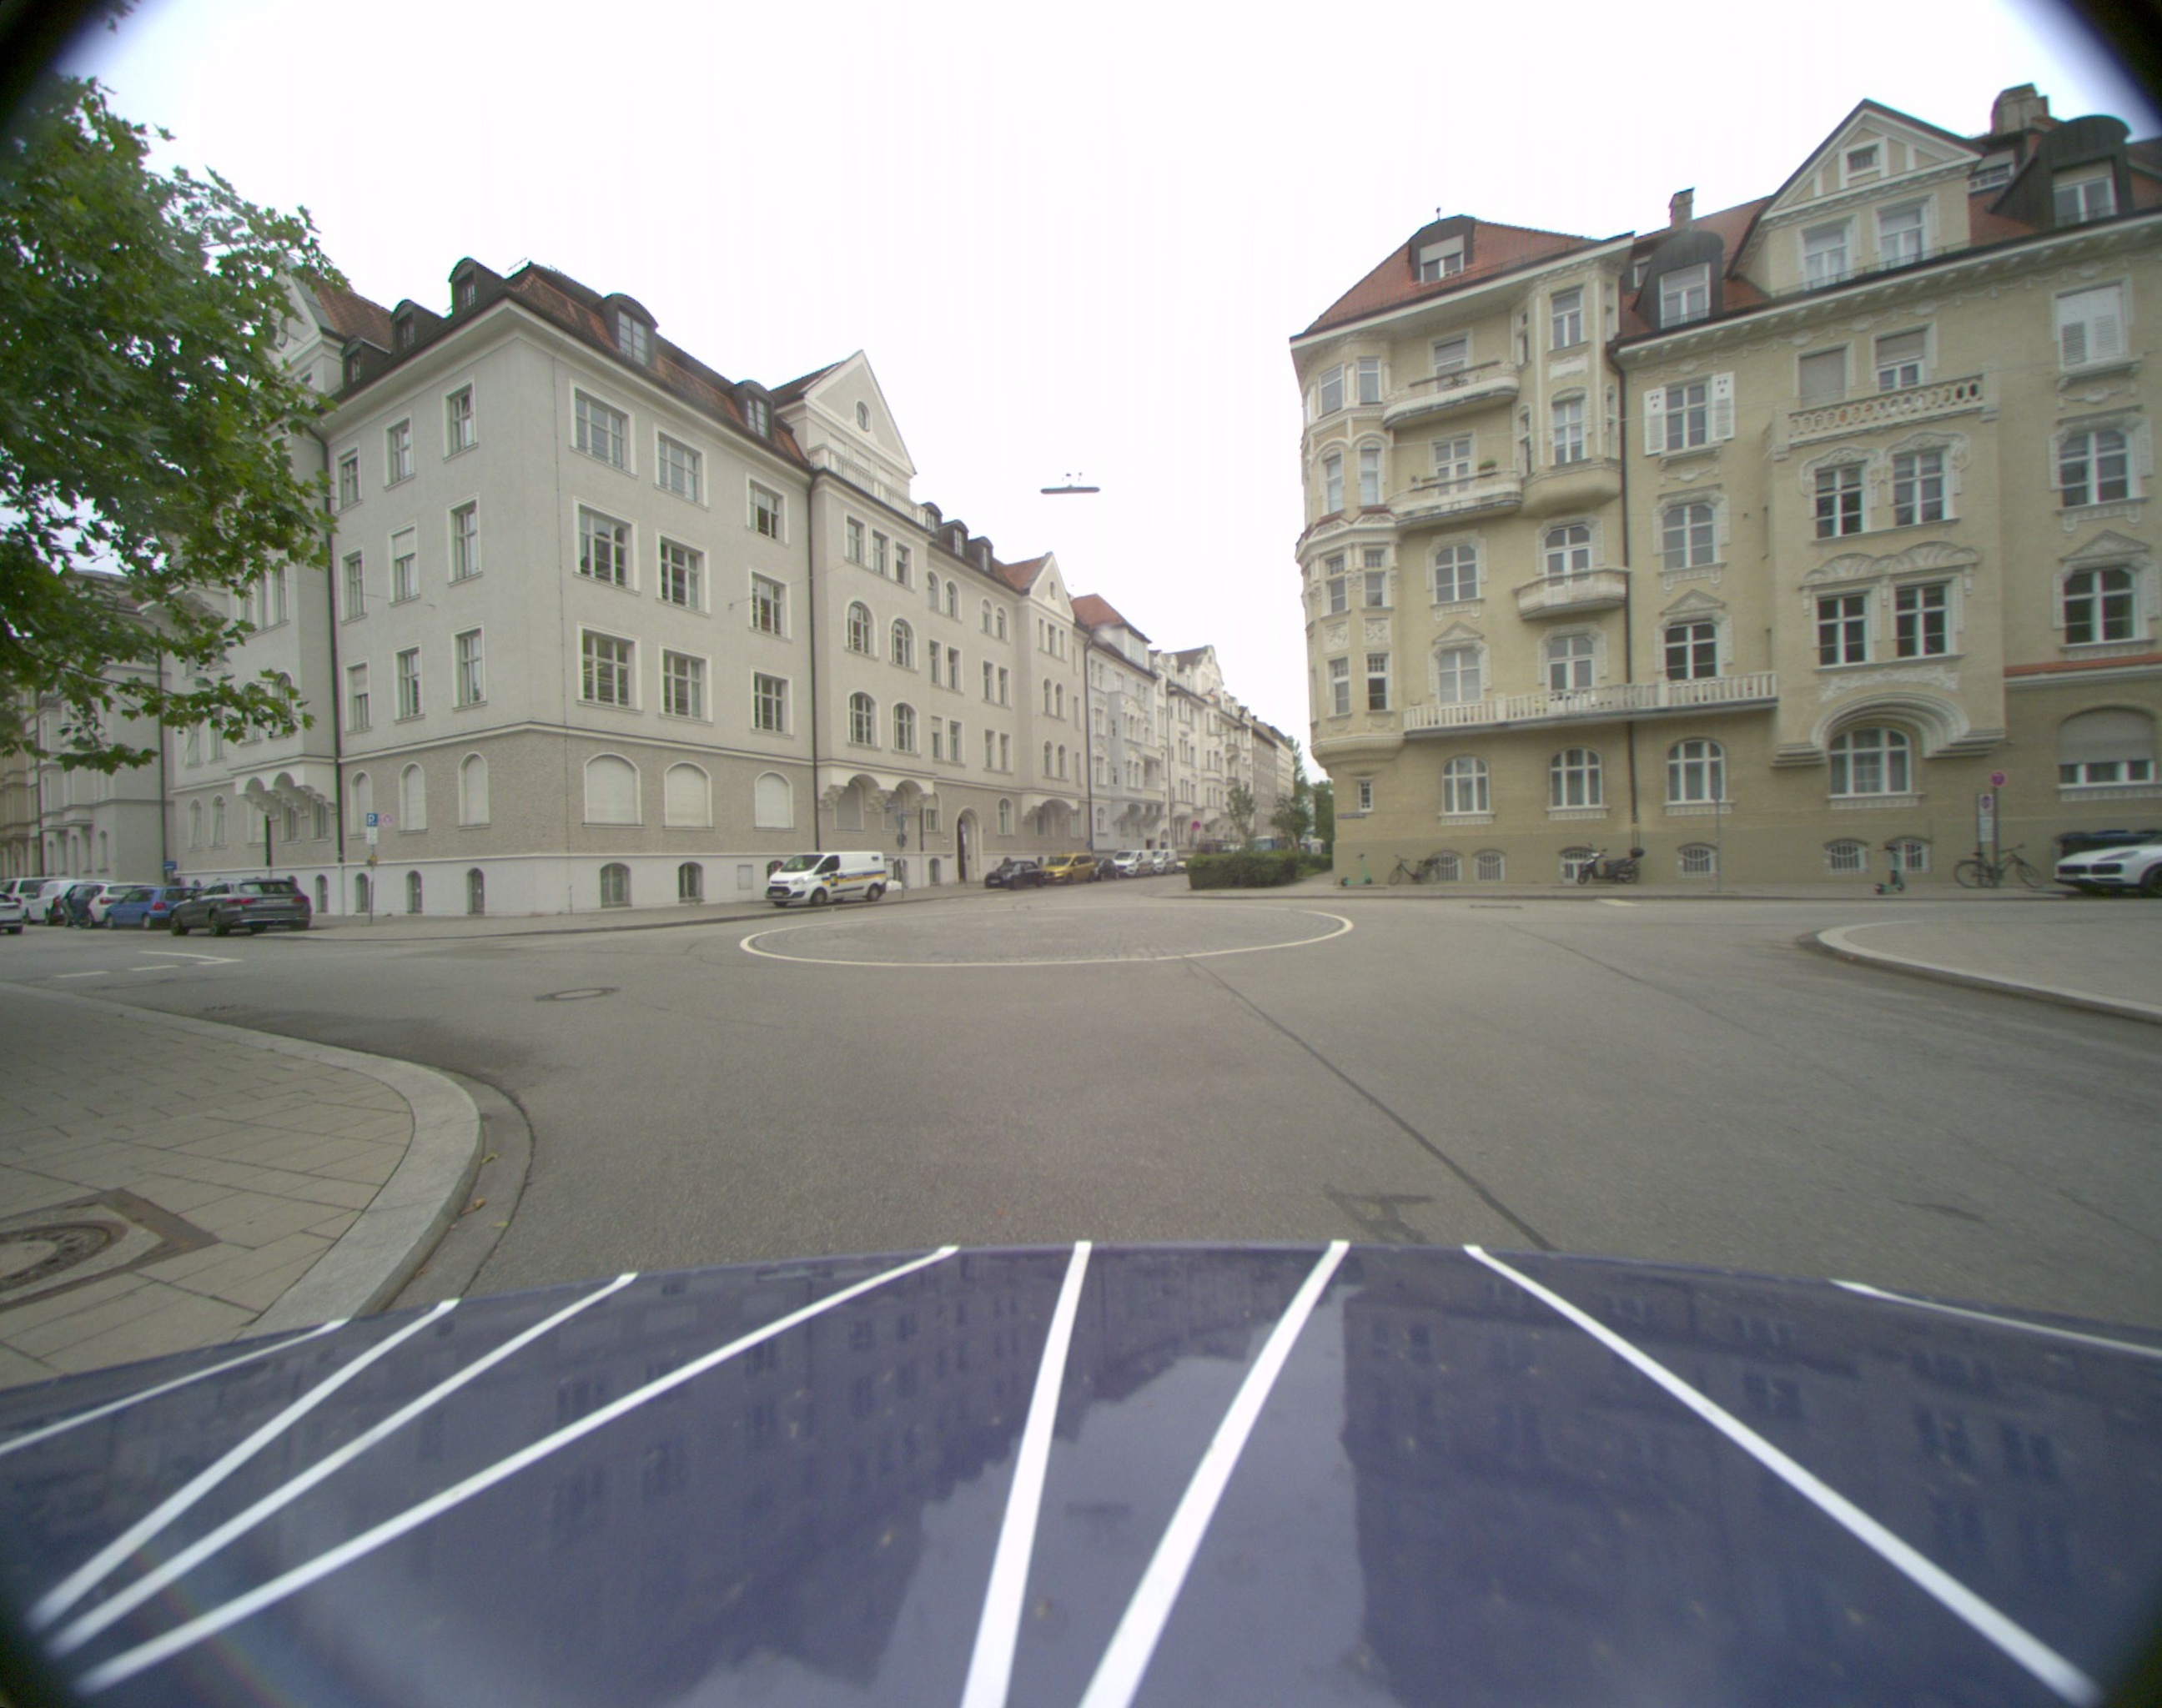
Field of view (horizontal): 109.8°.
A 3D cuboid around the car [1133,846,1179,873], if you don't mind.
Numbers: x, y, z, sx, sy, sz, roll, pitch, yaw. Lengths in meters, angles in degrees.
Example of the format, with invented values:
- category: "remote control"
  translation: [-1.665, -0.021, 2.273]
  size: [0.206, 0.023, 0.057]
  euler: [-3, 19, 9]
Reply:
- category: "car"
  translation: [6.005, 0.415, 60.050]
  size: [2.119, 1.982, 4.830]
  euler: [-2, 0, 25]

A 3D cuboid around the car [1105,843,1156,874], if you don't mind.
- category: "car"
  translation: [3.624, 0.280, 54.402]
  size: [2.119, 2.079, 4.830]
  euler: [-2, 0, 23]

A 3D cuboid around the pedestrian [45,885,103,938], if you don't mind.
- category: "pedestrian"
  translation: [-35.633, 2.015, 26.896]
  size: [0.878, 1.745, 0.962]
  euler: [-2, 1, -31]

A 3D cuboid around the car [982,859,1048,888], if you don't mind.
- category: "car"
  translation: [-3.368, 0.982, 39.359]
  size: [1.693, 1.338, 3.686]
  euler: [-2, 0, 26]

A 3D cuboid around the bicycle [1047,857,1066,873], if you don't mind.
- category: "bicycle"
  translation: [-1.707, 0.762, 53.333]
  size: [0.490, 1.043, 1.834]
  euler: [-2, 0, 27]

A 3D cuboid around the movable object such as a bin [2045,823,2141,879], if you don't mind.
- category: "movable object such as a bin"
  translation: [27.159, -0.076, 20.428]
  size: [1.170, 1.417, 1.096]
  euler: [-2, 1, 26]

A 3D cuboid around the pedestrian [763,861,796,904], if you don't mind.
- category: "pedestrian"
  translation: [-11.596, 1.080, 29.267]
  size: [0.731, 1.626, 0.857]
  euler: [-1, 1, 26]

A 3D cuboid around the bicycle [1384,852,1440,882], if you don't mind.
- category: "bicycle"
  translation: [12.039, 0.489, 27.680]
  size: [1.826, 1.043, 0.565]
  euler: [-2, 0, 23]

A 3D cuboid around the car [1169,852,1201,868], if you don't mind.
- category: "car"
  translation: [8.890, 0.508, 65.033]
  size: [1.693, 1.338, 3.545]
  euler: [-2, 0, 25]

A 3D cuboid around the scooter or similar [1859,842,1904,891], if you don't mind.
- category: "scooter or similar"
  translation: [20.610, 0.312, 19.569]
  size: [1.217, 1.187, 0.466]
  euler: [-2, 1, -27]

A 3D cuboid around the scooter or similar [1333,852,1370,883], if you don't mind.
- category: "scooter or similar"
  translation: [10.067, 0.494, 28.279]
  size: [1.215, 1.109, 0.467]
  euler: [-2, 1, -9]

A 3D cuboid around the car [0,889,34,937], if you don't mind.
- category: "car"
  translation: [-35.633, 1.901, 24.190]
  size: [4.879, 1.440, 1.894]
  euler: [-2, 1, 27]

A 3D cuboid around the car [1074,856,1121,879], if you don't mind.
- category: "car"
  translation: [1.084, 0.864, 48.889]
  size: [1.693, 1.338, 3.545]
  euler: [-2, 0, 25]

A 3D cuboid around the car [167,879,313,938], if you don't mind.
- category: "car"
  translation: [-25.002, 1.571, 22.567]
  size: [4.485, 1.592, 1.756]
  euler: [-2, -1, 26]

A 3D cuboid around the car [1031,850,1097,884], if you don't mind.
- category: "car"
  translation: [-0.929, 0.725, 44.210]
  size: [2.022, 1.828, 4.143]
  euler: [-2, 0, 28]

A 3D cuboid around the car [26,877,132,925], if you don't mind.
- category: "car"
  translation: [-40.821, 1.885, 30.941]
  size: [5.024, 1.777, 1.756]
  euler: [-2, -1, 27]

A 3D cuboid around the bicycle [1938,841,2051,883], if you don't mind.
- category: "bicycle"
  translation: [23.862, 0.217, 19.884]
  size: [1.826, 1.043, 0.565]
  euler: [-2, 0, 23]

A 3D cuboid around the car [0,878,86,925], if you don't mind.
- category: "car"
  translation: [-46.327, 2.076, 33.669]
  size: [4.945, 1.926, 1.865]
  euler: [-2, -1, 27]

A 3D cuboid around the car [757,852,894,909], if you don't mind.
- category: "car"
  translation: [-9.331, 0.903, 28.210]
  size: [1.920, 1.870, 4.919]
  euler: [-2, 0, 24]

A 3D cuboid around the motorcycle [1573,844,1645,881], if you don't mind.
- category: "motorcycle"
  translation: [17.442, 0.277, 25.139]
  size: [1.826, 1.169, 0.601]
  euler: [-2, 0, 23]

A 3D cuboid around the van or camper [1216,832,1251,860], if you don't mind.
- category: "van or camper"
  translation: [16.623, -0.885, 82.703]
  size: [1.995, 2.897, 6.448]
  euler: [-1, 1, 27]

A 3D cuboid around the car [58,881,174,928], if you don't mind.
- category: "car"
  translation: [-35.669, 1.843, 28.083]
  size: [4.485, 1.592, 1.756]
  euler: [-2, -1, 26]

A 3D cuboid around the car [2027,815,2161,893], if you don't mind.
- category: "car"
  translation: [25.246, -0.068, 16.947]
  size: [4.829, 1.691, 1.985]
  euler: [-2, 1, 23]

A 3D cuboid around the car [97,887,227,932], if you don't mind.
- category: "car"
  translation: [-31.551, 1.881, 26.088]
  size: [3.655, 1.406, 1.700]
  euler: [-2, -1, 20]
